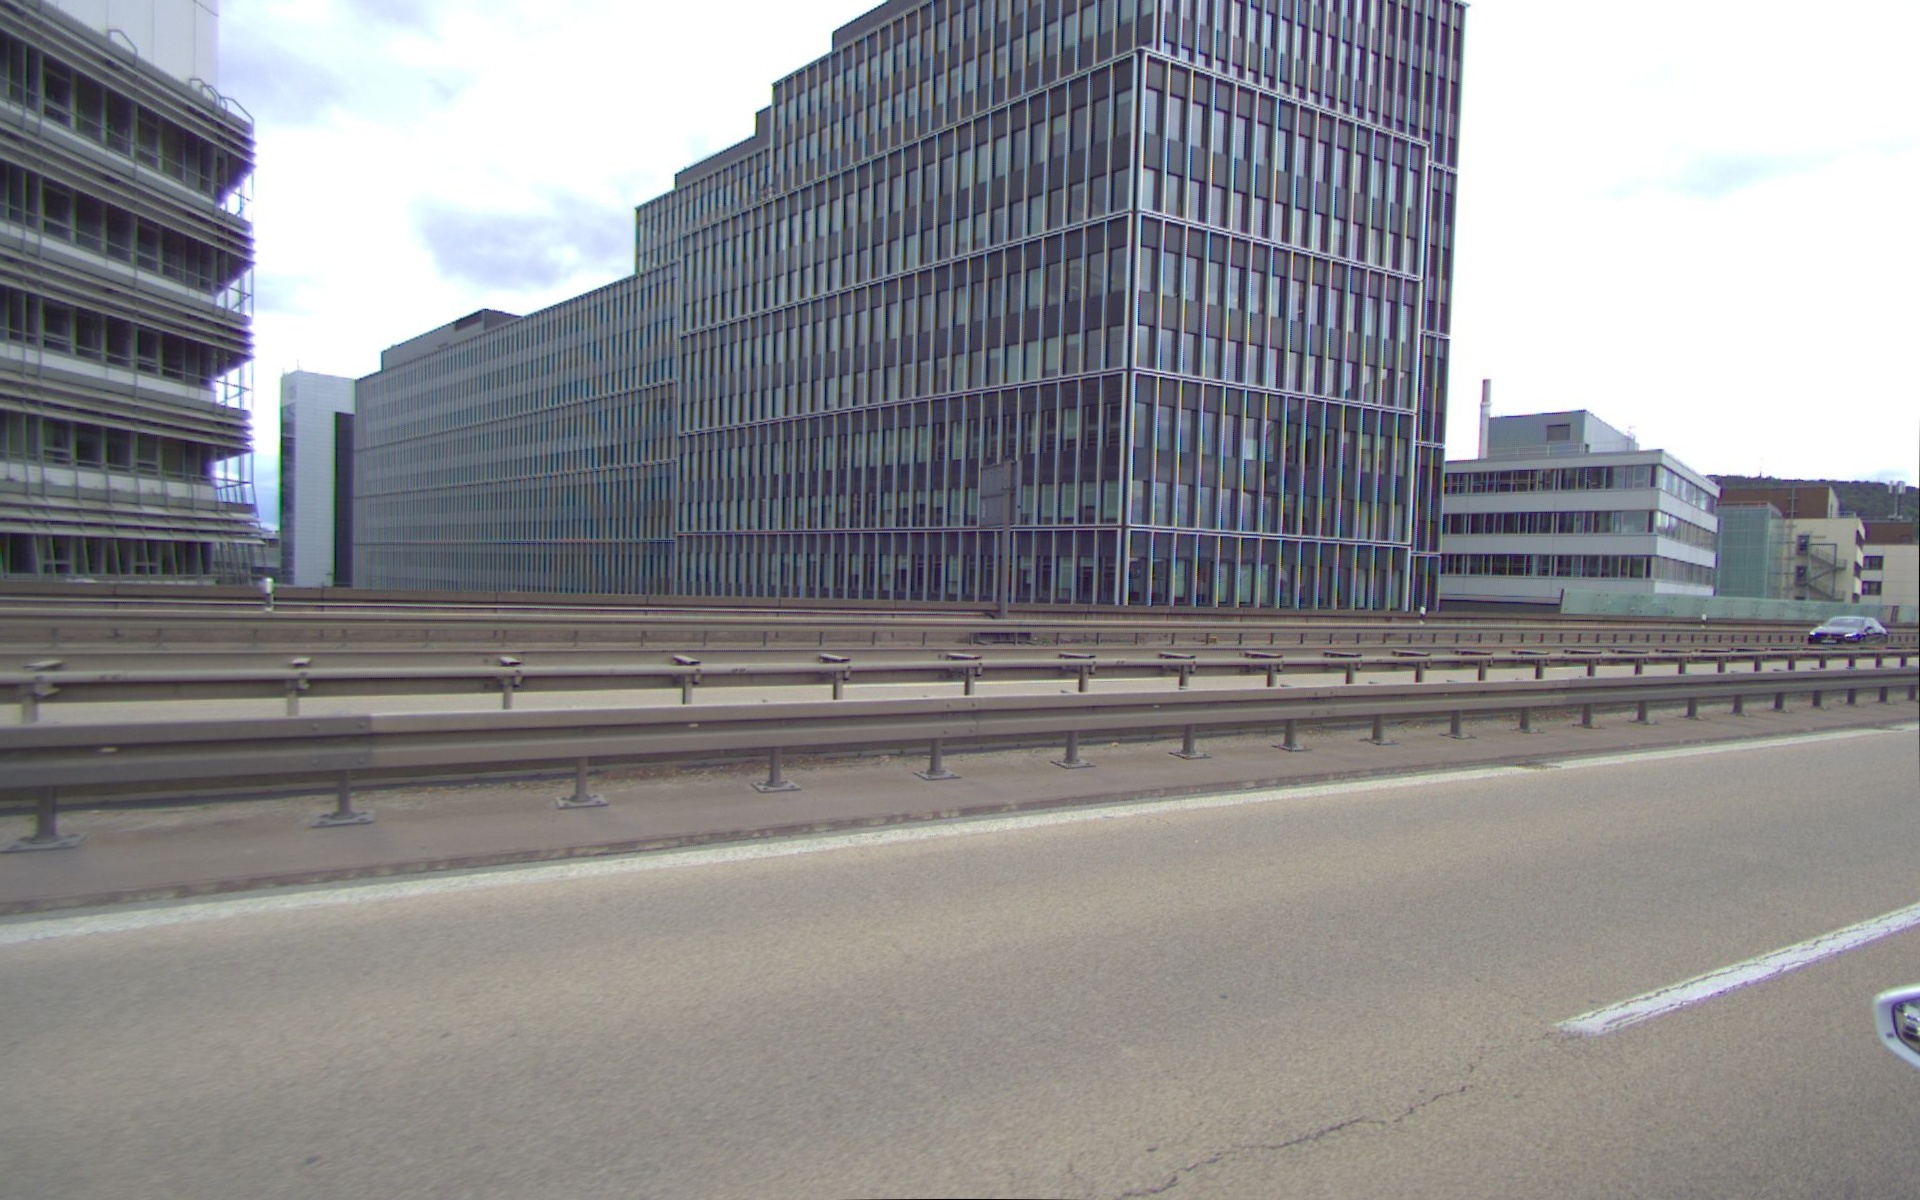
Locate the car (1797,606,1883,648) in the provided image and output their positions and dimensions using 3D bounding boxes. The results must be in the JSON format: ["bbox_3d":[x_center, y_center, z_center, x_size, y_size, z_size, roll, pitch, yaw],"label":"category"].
[{"bbox_3d":[38.603,1.186,44.051,4.312,1.672,1.673,2,1,-33],"label":"car"}]
